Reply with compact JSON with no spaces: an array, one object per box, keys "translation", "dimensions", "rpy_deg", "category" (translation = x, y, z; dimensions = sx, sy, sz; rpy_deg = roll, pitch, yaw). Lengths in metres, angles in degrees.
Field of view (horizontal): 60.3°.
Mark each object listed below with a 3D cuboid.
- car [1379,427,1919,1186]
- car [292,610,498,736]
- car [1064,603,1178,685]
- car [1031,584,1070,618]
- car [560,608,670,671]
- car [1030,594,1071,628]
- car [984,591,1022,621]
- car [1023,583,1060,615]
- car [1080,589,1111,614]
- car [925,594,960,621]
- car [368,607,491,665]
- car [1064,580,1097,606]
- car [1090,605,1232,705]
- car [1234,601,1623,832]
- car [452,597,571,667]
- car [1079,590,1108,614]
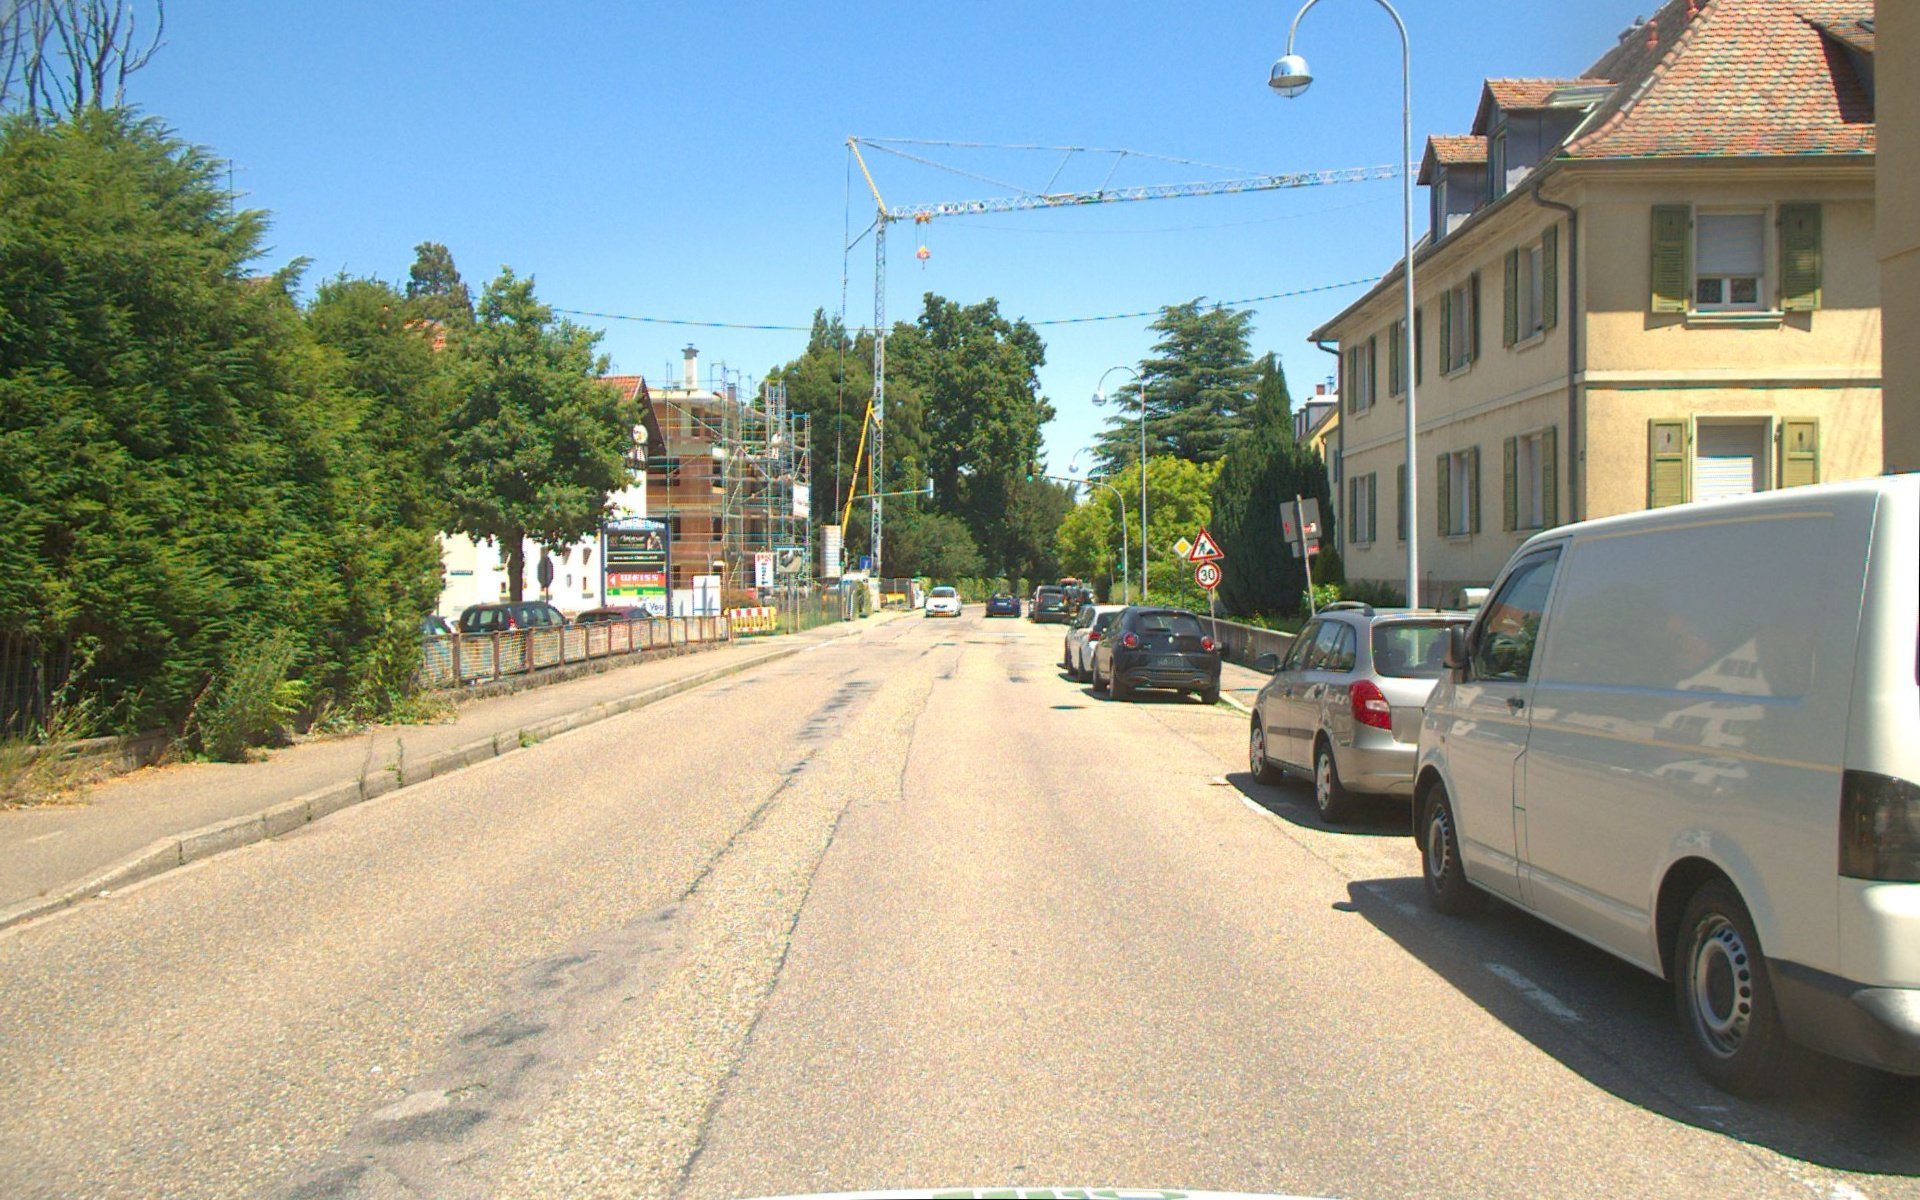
[{"translation":[3.331,0.566,6.659],"dimensions":[1.953,1.934,4.822],"rpy_deg":[2,0,-1],"category":"car"},{"translation":[-7.942,0.969,23.581],"dimensions":[1.740,1.624,3.534],"rpy_deg":[-1,0,-1],"category":"car"},{"translation":[3.067,0.817,32.166],"dimensions":[1.725,1.477,3.888],"rpy_deg":[0,0,-2],"category":"car"},{"translation":[4.741,0.074,86.147],"dimensions":[1.952,1.691,4.002],"rpy_deg":[-1,0,4],"category":"car"},{"translation":[-8.273,0.922,39.945],"dimensions":[1.625,1.413,3.537],"rpy_deg":[-1,0,5],"category":"car"},{"translation":[4.469,0.523,81.380],"dimensions":[1.952,1.601,4.002],"rpy_deg":[-1,0,4],"category":"car"},{"translation":[2.397,0.322,91.387],"dimensions":[1.917,1.494,4.003],"rpy_deg":[0,2,4],"category":"car"},{"translation":[4.510,-0.031,91.234],"dimensions":[1.952,1.691,4.002],"rpy_deg":[-1,0,4],"category":"car"},{"translation":[9.314,0.121,113.511],"dimensions":[1.951,1.691,4.003],"rpy_deg":[-1,0,6],"category":"car"},{"translation":[-0.950,0.401,91.793],"dimensions":[1.724,1.477,3.841],"rpy_deg":[0,0,3],"category":"car"},{"translation":[-13.103,0.862,41.033],"dimensions":[1.625,1.356,3.537],"rpy_deg":[-1,0,5],"category":"car"},{"translation":[7.950,-0.453,108.667],"dimensions":[1.951,1.691,4.003],"rpy_deg":[-1,0,6],"category":"car"},{"translation":[3.170,0.836,26.734],"dimensions":[1.725,1.477,3.838],"rpy_deg":[0,0,-2],"category":"car"},{"translation":[3.383,0.757,12.802],"dimensions":[1.725,1.477,4.222],"rpy_deg":[0,0,-2],"category":"car"},{"translation":[-10.800,0.737,40.058],"dimensions":[1.625,1.603,3.537],"rpy_deg":[-1,0,5],"category":"car"},{"translation":[9.554,0.139,118.306],"dimensions":[1.951,1.691,4.003],"rpy_deg":[-1,0,6],"category":"car"}]
